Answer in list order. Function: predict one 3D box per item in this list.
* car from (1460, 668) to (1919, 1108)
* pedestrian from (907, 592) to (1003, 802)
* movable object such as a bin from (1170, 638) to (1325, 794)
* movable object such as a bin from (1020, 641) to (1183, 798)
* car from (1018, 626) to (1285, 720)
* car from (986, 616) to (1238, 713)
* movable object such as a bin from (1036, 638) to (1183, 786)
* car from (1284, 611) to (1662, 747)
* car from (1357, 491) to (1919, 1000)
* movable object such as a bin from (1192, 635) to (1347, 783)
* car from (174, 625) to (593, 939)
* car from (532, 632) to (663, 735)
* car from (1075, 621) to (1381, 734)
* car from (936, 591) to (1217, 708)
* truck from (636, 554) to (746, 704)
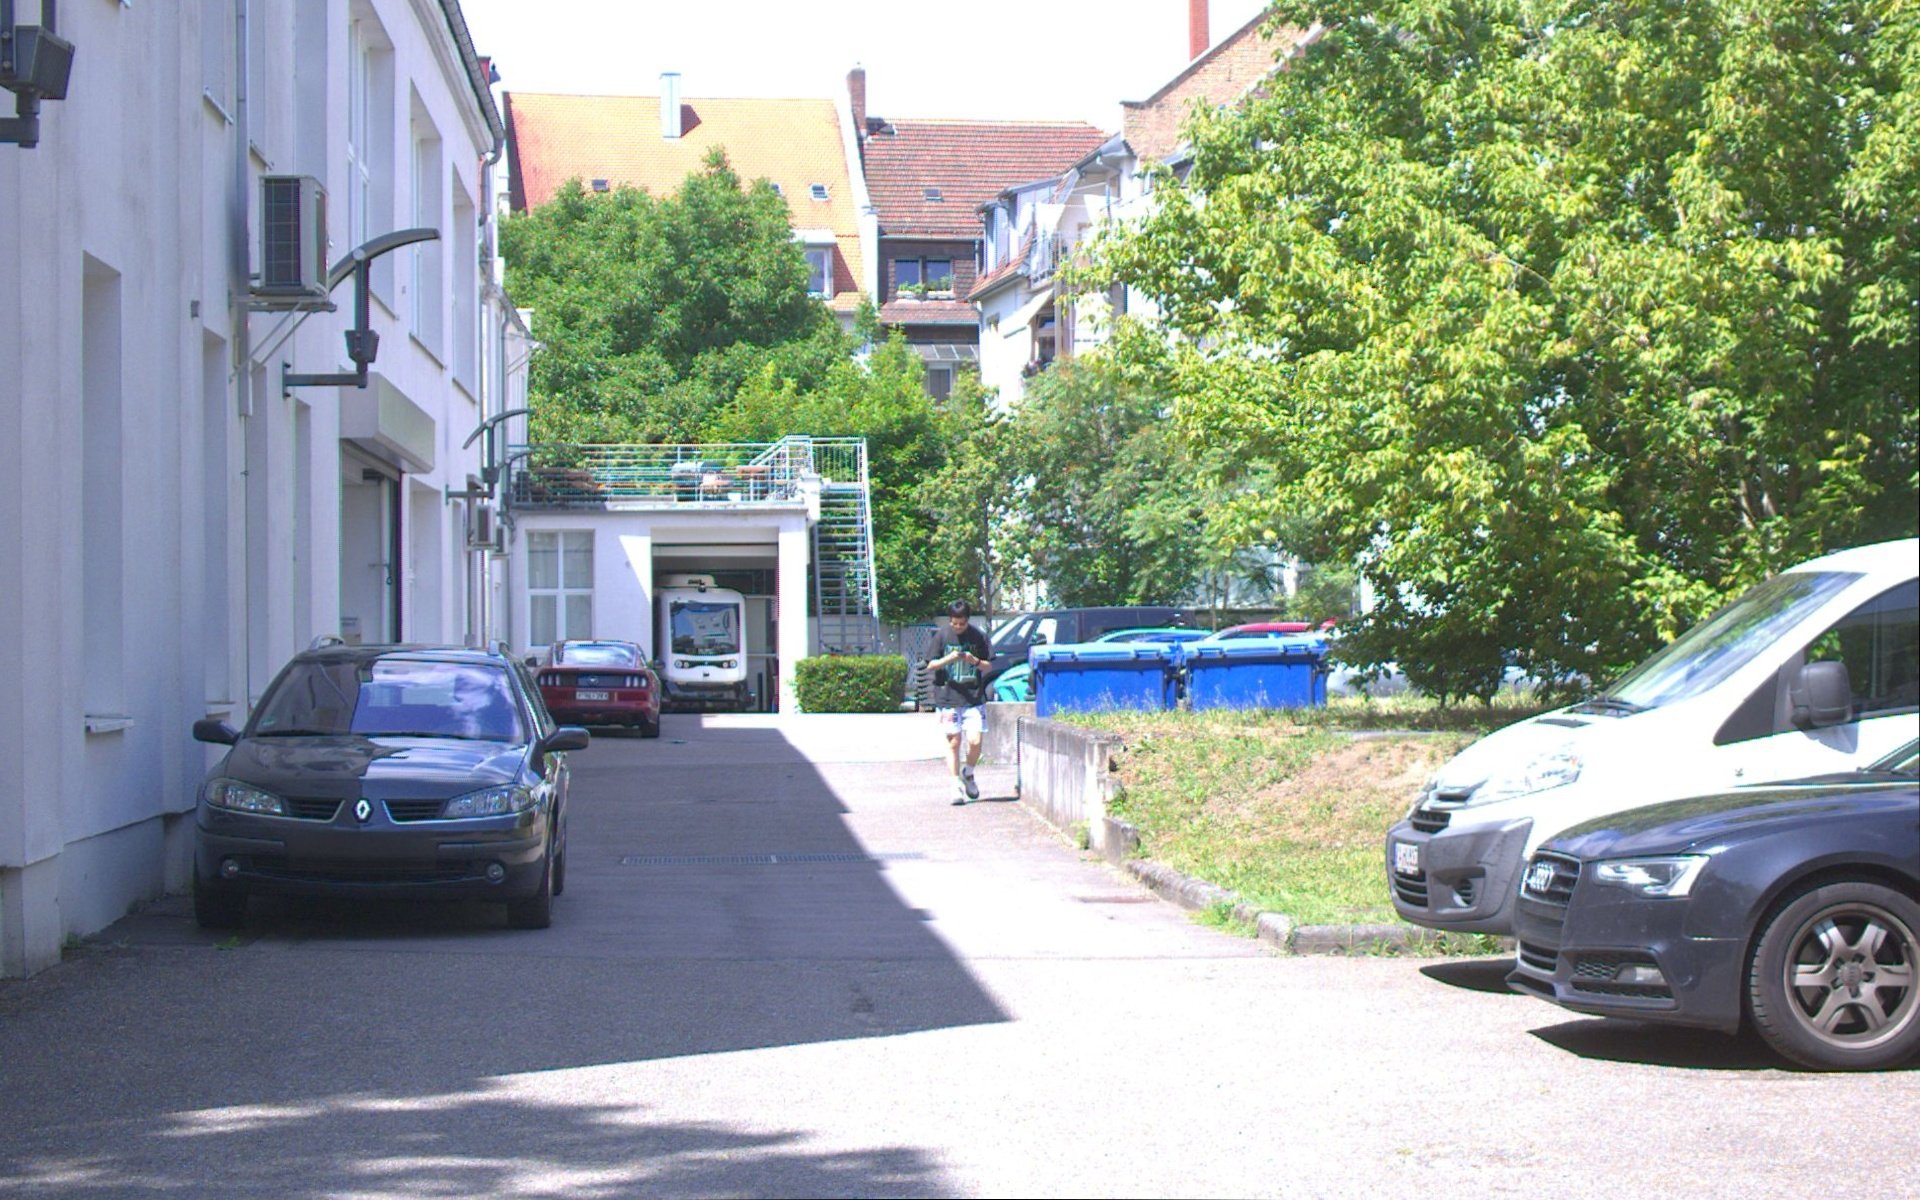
[{"bbox_3d":[4.231,0.929,12.044,4.611,1.347,1.834,0,0,-4],"label":"car"},{"bbox_3d":[-0.044,0.815,29.232,0.757,1.749,0.751,-1,0,-3],"label":"pedestrian"},{"bbox_3d":[2.523,1.014,30.347,1.216,1.322,1.160,-1,0,-2],"label":"movable object such as a bin"},{"bbox_3d":[1.231,1.040,30.232,1.339,1.322,1.160,-1,0,-2],"label":"movable object such as a bin"},{"bbox_3d":[3.015,1.144,54.628,3.986,1.385,1.805,-1,0,-6],"label":"car"},{"bbox_3d":[2.520,1.067,57.581,3.986,1.529,1.805,-1,0,-6],"label":"car"},{"bbox_3d":[1.382,1.029,31.988,1.192,1.322,1.161,-1,0,-6],"label":"movable object such as a bin"},{"bbox_3d":[5.905,0.896,39.852,3.986,1.473,1.805,-1,0,-6],"label":"car"},{"bbox_3d":[4.255,0.578,14.766,4.758,2.007,2.000,0,-1,-4],"label":"car"},{"bbox_3d":[2.875,1.000,32.044,1.216,1.322,1.161,-1,0,-6],"label":"movable object such as a bin"},{"bbox_3d":[-2.956,0.874,18.439,1.754,1.425,4.387,0,0,-3],"label":"car"},{"bbox_3d":[-5.243,1.182,50.039,1.798,1.385,4.001,-1,0,-5],"label":"car"},{"bbox_3d":[3.711,1.062,48.020,3.986,1.473,1.805,-1,0,-6],"label":"car"},{"bbox_3d":[2.026,0.855,60.596,4.676,1.951,2.077,-1,0,-6],"label":"car"},{"bbox_3d":[-5.437,0.578,69.161,1.787,2.927,4.654,0,0,-10],"label":"truck"}]
